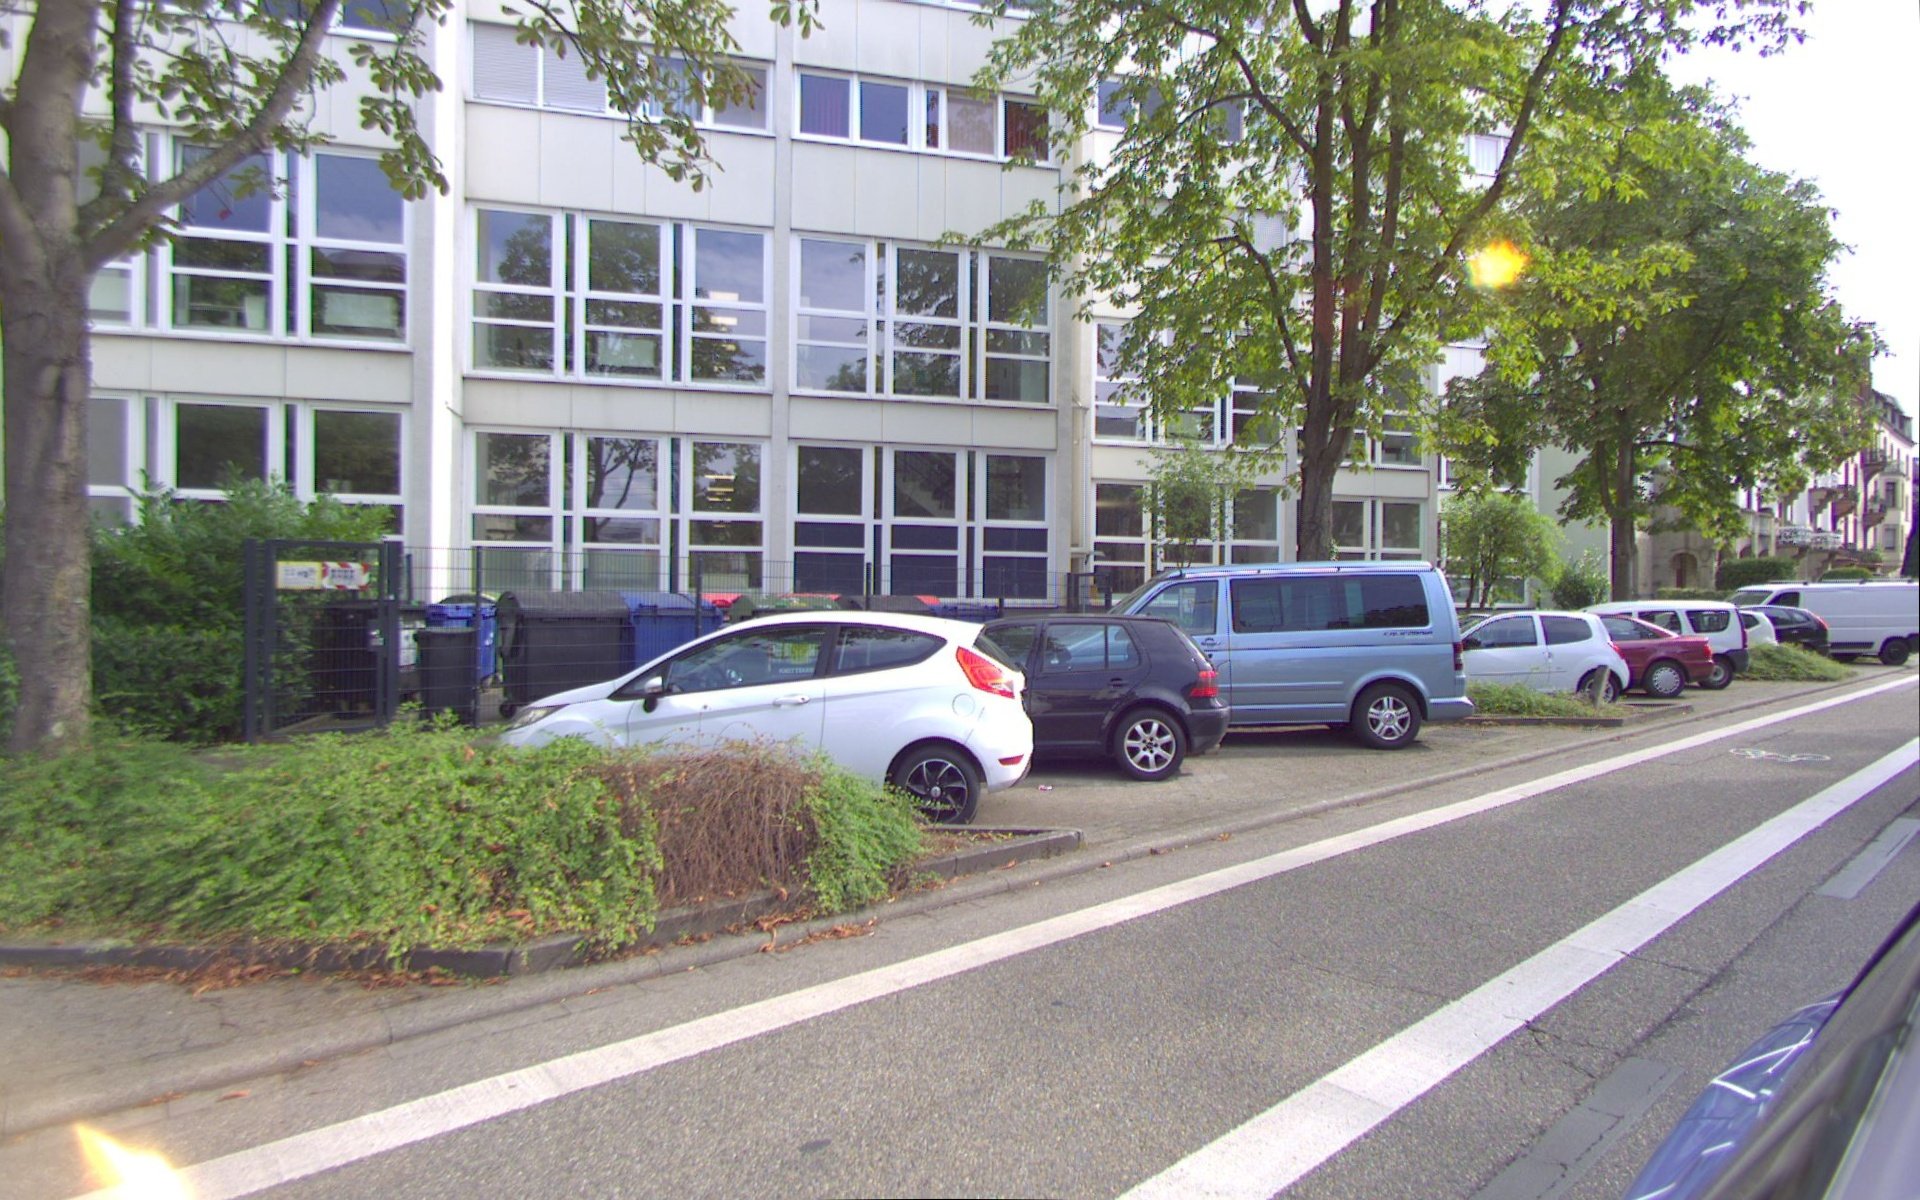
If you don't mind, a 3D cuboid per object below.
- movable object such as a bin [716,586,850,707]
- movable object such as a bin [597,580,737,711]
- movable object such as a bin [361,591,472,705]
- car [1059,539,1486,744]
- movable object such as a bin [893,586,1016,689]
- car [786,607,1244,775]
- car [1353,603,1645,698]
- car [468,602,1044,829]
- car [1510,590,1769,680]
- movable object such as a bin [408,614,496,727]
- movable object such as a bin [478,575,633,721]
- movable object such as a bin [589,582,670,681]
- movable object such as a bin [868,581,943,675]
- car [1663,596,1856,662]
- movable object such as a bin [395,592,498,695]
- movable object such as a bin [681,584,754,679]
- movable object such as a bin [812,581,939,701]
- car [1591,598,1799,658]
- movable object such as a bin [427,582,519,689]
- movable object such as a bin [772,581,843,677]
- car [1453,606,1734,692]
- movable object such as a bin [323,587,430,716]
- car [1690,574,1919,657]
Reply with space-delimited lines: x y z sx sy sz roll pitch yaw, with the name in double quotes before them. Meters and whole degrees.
"movable object such as a bin" -2.391 0.582 13.614 1.328 1.521 1.335 0 0 -36
"movable object such as a bin" -3.698 0.527 12.736 1.312 1.523 1.335 0 0 -36
"movable object such as a bin" -7.027 0.591 13.152 1.095 1.409 1.065 0 0 -19
"car" 3.301 0.409 11.494 4.268 2.090 1.998 0 0 5
"movable object such as a bin" -0.093 0.536 15.507 1.374 1.477 1.335 0 0 -36
"car" 0.492 0.779 9.557 3.902 1.405 1.812 0 -1 5
"car" 8.242 0.739 15.744 3.580 1.347 1.766 0 0 5
"car" -1.315 0.737 7.380 3.792 1.410 1.632 0 0 4
"car" 12.998 0.627 19.583 3.708 1.638 1.810 0 0 9
"movable object such as a bin" -5.387 0.719 10.723 0.729 1.119 0.786 0 0 -34
"movable object such as a bin" -4.690 0.503 11.710 1.389 1.549 1.330 0 0 -36
"movable object such as a bin" -5.494 0.507 16.910 1.150 1.588 1.182 0 0 -12
"movable object such as a bin" -0.973 0.471 17.750 1.150 1.588 1.182 0 0 -12
"car" 20.729 0.704 26.415 3.605 1.609 1.753 0 0 24
"movable object such as a bin" -7.304 0.585 14.464 1.155 1.387 1.177 0 0 -19
"movable object such as a bin" -4.061 0.512 17.052 1.150 1.533 1.182 0 0 -12
"movable object such as a bin" -1.217 0.545 14.469 1.328 1.616 1.335 0 0 -36
"car" 17.383 0.646 24.082 3.580 1.347 1.766 0 0 5
"movable object such as a bin" -7.577 0.528 15.814 1.155 1.588 1.177 0 0 -19
"movable object such as a bin" -2.643 0.485 17.448 1.150 1.588 1.182 0 0 -12
"car" 10.879 0.798 17.645 3.708 1.355 1.810 0 0 9
"movable object such as a bin" -6.792 0.569 11.837 0.893 1.425 1.026 0 0 -19
"car" 23.928 0.388 28.247 5.349 2.203 2.143 0 0 9
